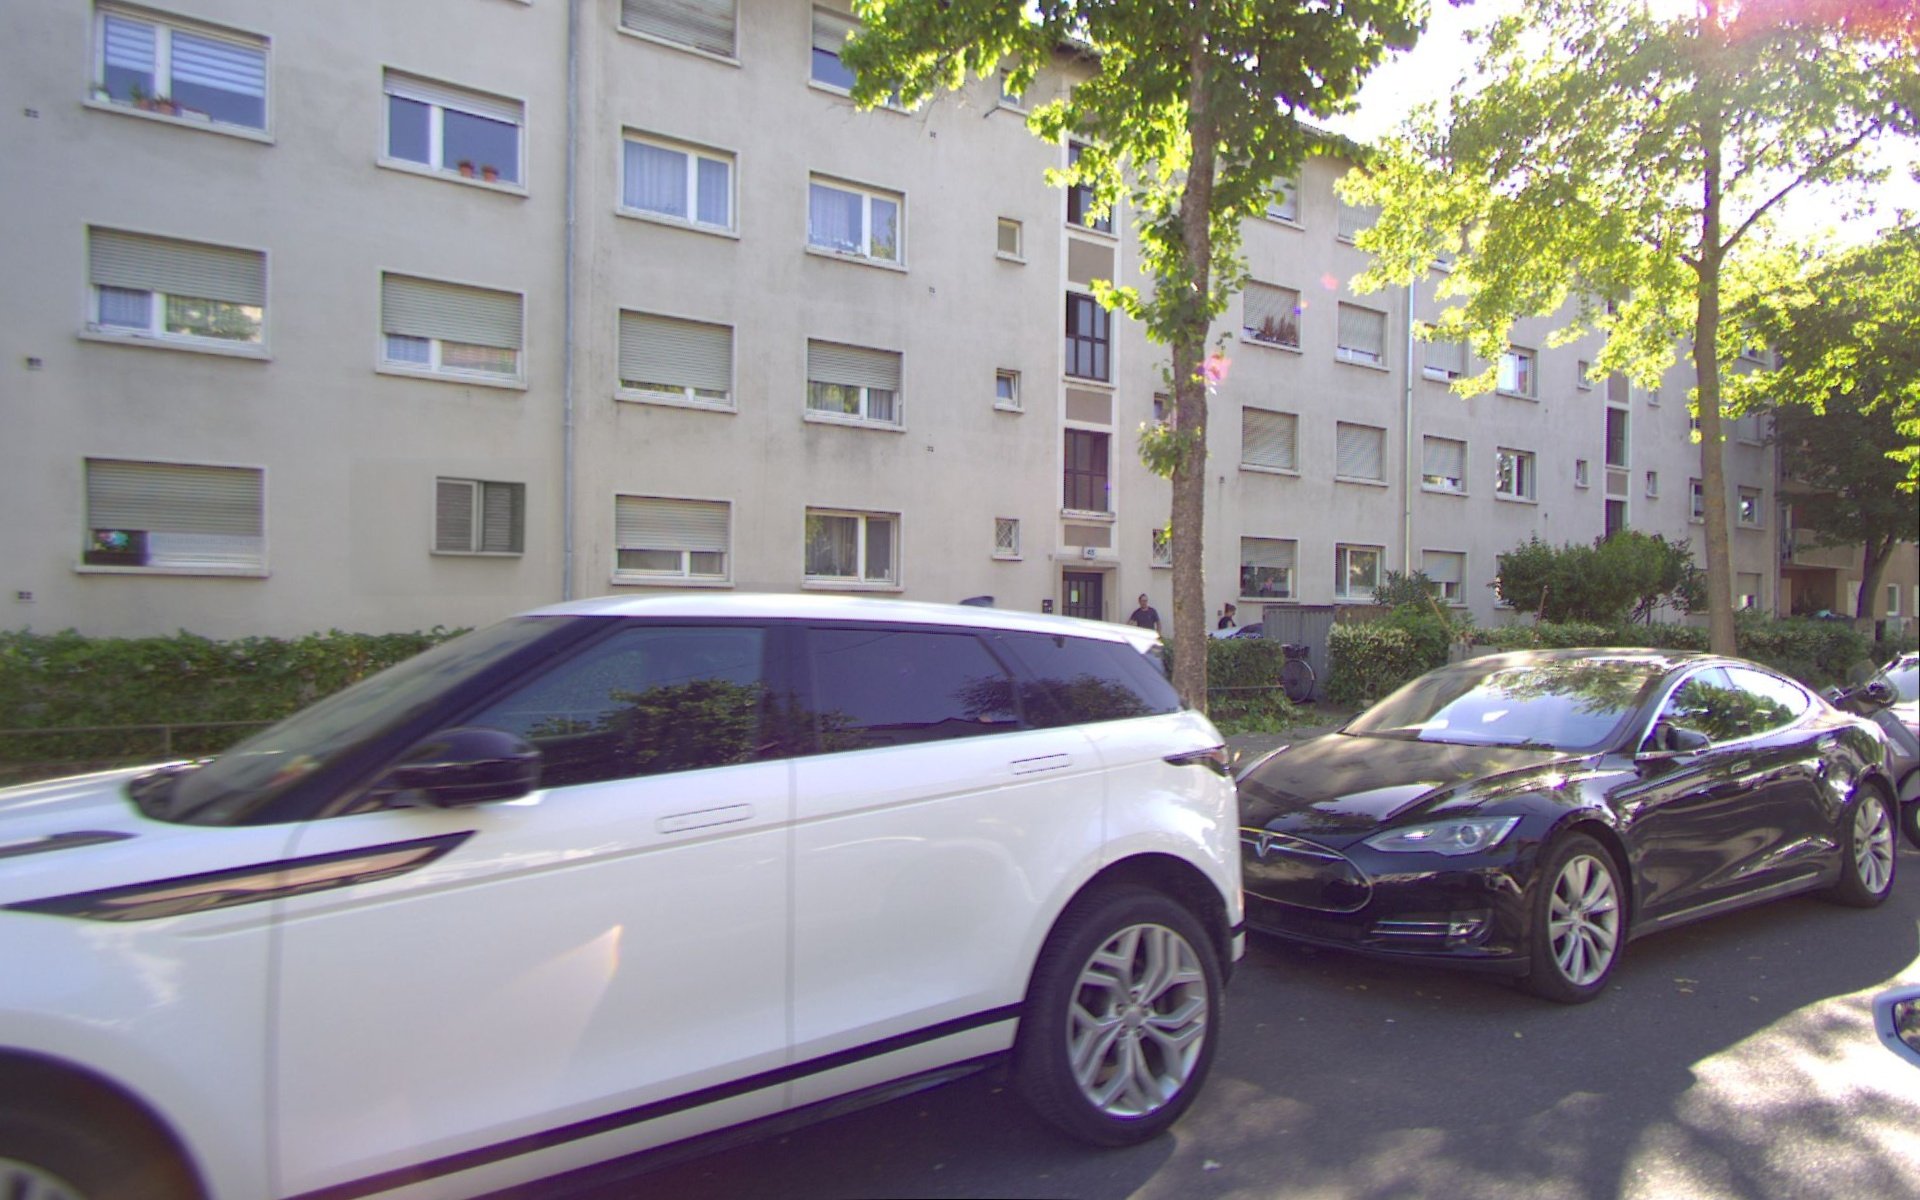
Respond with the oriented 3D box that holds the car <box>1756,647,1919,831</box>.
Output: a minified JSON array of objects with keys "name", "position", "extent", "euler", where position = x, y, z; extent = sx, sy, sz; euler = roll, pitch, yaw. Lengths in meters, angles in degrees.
[{"name":"car","position":[9.085,1.110,8.852],"extent":[4.211,1.397,1.772],"euler":[1,-3,-30]}]

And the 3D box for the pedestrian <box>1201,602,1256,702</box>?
[{"name":"pedestrian","position":[5.357,1.029,20.048],"extent":[0.861,1.939,0.783],"euler":[0,-1,-3]}]

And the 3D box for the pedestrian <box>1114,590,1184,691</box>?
[{"name":"pedestrian","position":[3.711,0.783,19.745],"extent":[1.015,1.913,0.927],"euler":[1,-1,-34]}]

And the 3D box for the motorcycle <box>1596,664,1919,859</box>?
[{"name":"motorcycle","position":[6.314,1.155,7.702],"extent":[0.801,1.287,2.267],"euler":[1,-3,-39]}]

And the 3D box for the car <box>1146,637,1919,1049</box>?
[{"name":"car","position":[3.379,0.996,5.605],"extent":[4.564,1.496,1.721],"euler":[1,-5,-30]}]

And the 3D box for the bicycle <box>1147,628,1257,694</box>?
[{"name":"bicycle","position":[4.480,1.131,18.610],"extent":[1.918,1.168,0.513],"euler":[1,0,-7]}]

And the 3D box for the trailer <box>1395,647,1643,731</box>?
[{"name":"trailer","position":[8.324,1.263,14.973],"extent":[3.240,1.047,1.782],"euler":[1,-1,-28]}]

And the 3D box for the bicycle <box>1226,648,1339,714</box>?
[{"name":"bicycle","position":[5.224,1.290,16.390],"extent":[0.508,0.929,1.940],"euler":[1,-1,-28]}]

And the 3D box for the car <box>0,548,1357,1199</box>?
[{"name":"car","position":[-0.962,0.815,3.034],"extent":[4.316,1.639,1.720],"euler":[1,-4,-31]}]
